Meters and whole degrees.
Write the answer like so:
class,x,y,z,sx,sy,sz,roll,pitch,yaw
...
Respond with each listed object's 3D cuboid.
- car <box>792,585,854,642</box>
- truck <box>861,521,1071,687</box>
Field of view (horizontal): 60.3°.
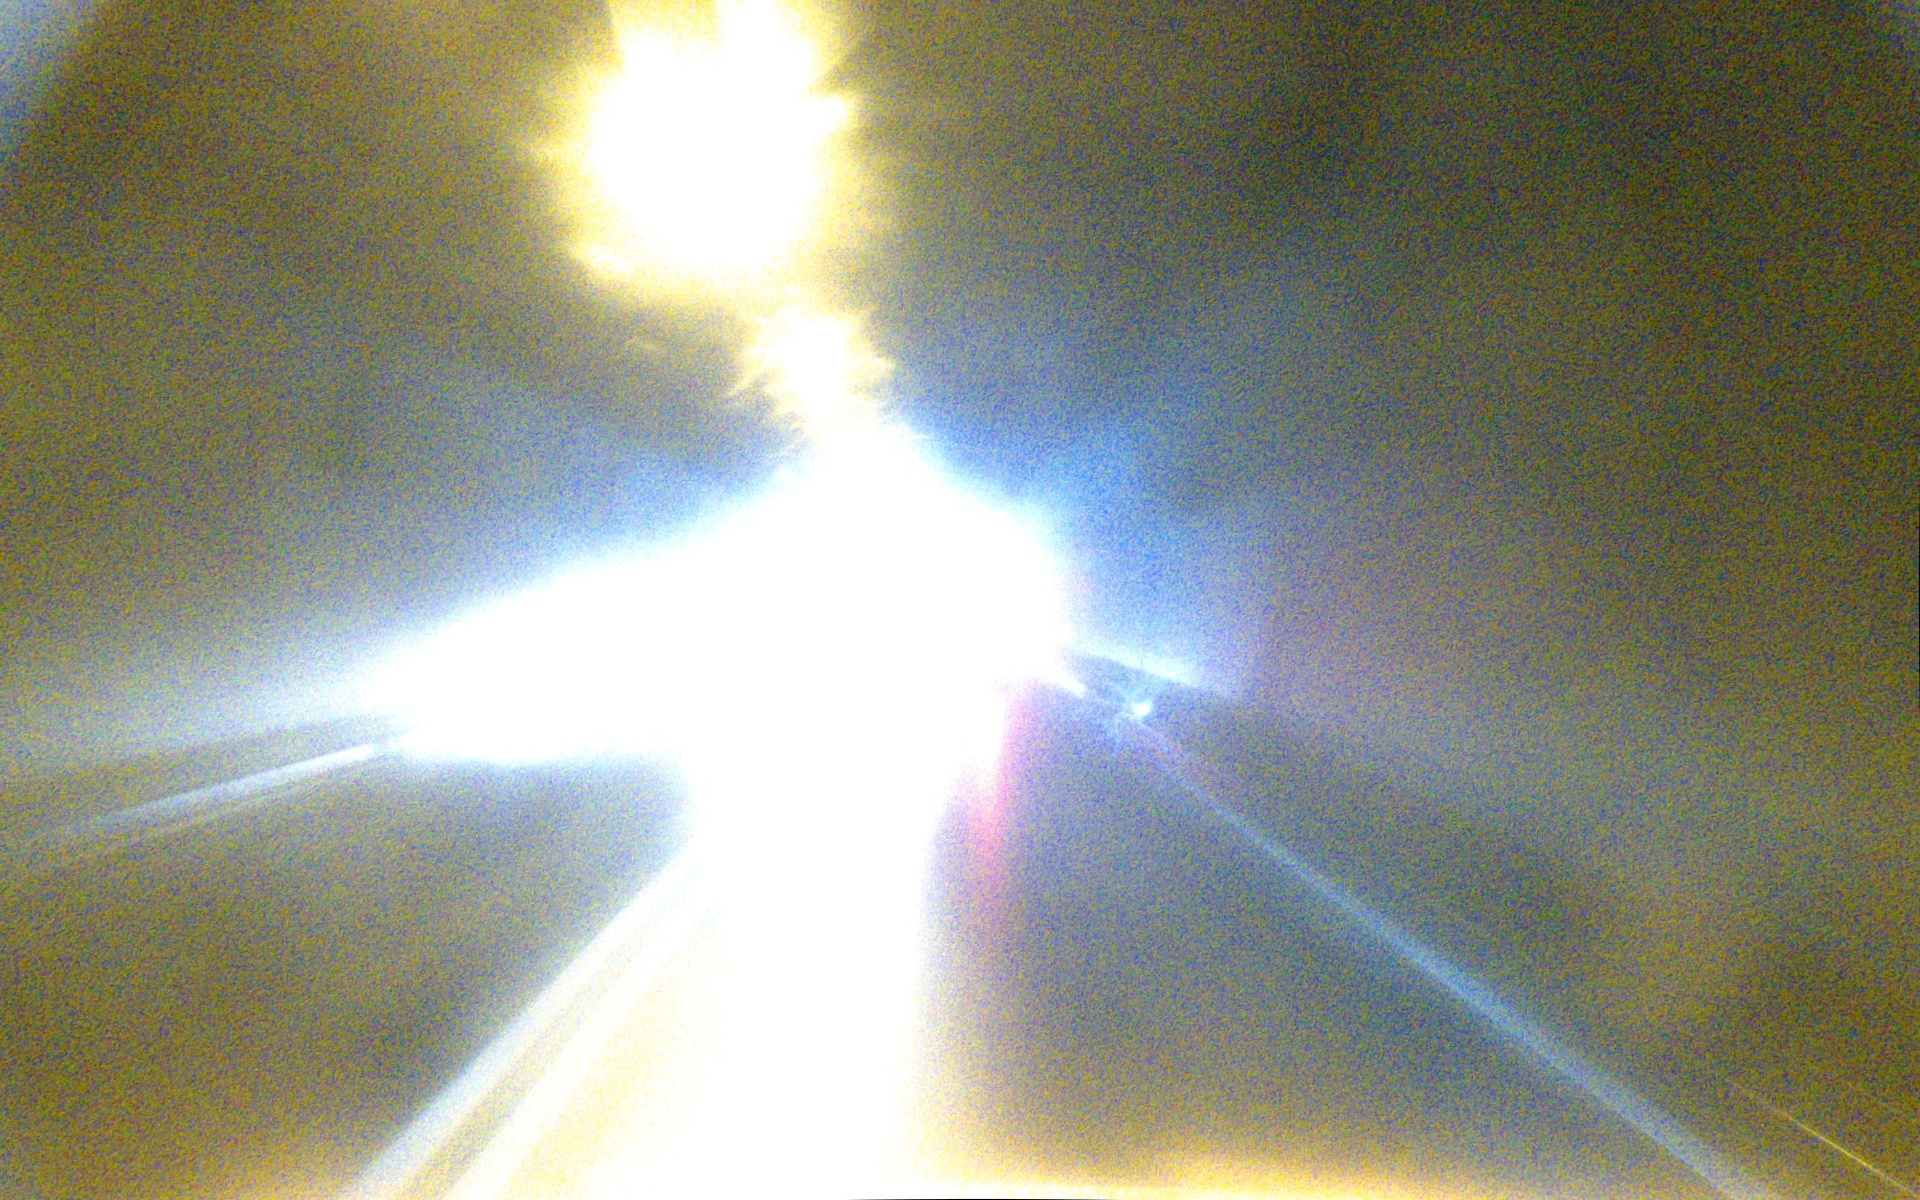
class,x,y,z,sx,sy,sz,roll,pitch,yaw
car,-4.111,0.399,50.084,1.566,1.641,3.995,1,0,-1
truck,0.034,0.054,31.819,3.463,2.740,8.954,0,0,-1
